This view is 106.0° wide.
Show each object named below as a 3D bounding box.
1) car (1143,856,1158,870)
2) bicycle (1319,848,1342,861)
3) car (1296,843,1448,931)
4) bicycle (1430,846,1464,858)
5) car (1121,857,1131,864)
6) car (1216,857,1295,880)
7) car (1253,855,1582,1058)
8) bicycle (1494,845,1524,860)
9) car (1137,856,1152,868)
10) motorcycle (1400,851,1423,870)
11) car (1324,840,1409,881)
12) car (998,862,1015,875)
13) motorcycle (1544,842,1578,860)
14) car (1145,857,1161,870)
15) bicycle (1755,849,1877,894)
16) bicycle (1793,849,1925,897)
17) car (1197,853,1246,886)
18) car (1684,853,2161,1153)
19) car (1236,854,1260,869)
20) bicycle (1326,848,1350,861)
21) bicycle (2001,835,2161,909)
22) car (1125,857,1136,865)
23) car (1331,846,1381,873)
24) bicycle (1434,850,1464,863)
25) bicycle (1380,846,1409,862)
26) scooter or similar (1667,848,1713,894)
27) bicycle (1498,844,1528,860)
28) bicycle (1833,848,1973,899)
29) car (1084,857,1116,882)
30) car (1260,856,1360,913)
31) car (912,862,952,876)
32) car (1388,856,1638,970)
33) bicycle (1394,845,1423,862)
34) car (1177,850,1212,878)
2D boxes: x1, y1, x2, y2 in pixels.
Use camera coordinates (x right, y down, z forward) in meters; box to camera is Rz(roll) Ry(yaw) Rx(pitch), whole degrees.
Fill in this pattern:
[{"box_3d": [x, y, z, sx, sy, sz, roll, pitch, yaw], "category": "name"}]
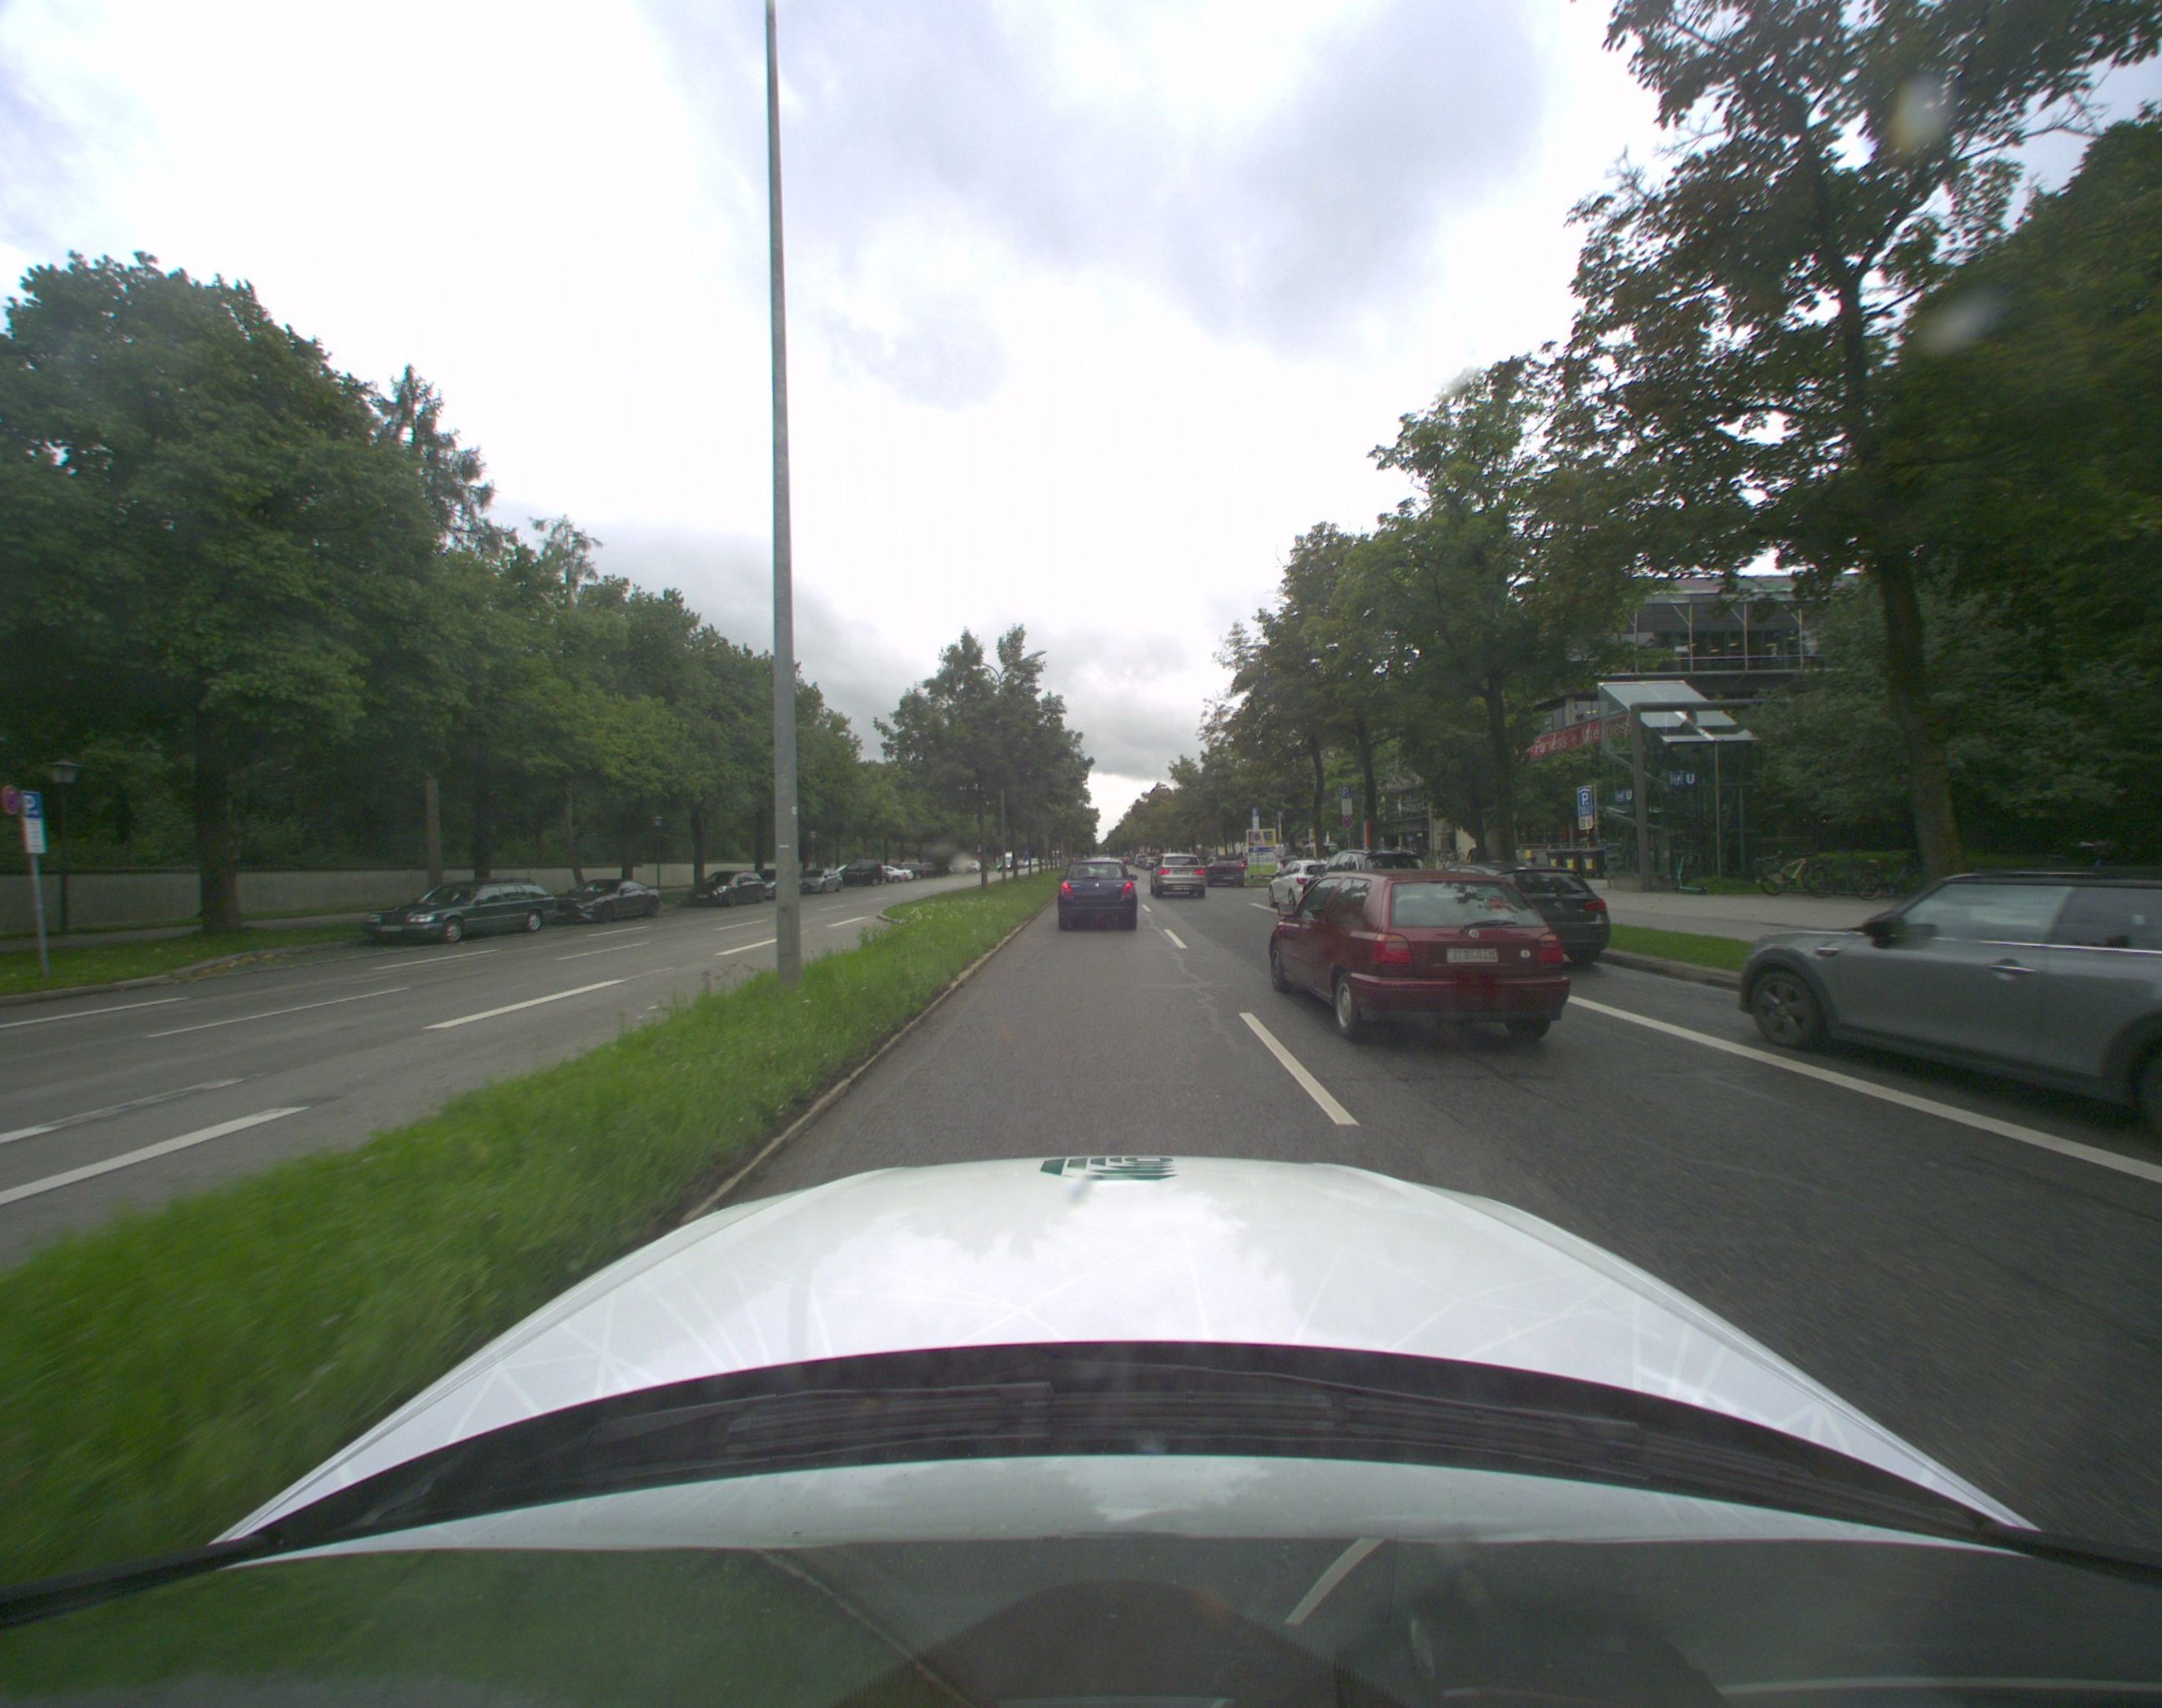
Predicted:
[{"box_3d": [8.536, 1.061, 100.164, 1.677, 1.626, 4.308, 0, 0, 2], "category": "car"}, {"box_3d": [31.118, 0.095, 101.741, 2.606, 1.508, 0.797, -1, -1, -6], "category": "bicycle"}, {"box_3d": [6.281, 0.654, 18.208, 1.780, 1.675, 4.595, -1, 0, 1], "category": "car"}, {"box_3d": [29.764, -0.153, 66.289, 0.776, 0.870, 2.373, -1, -1, -45], "category": "bicycle"}, {"box_3d": [9.582, 1.416, 174.254, 1.844, 1.447, 4.096, -1, 0, 0], "category": "car"}, {"box_3d": [11.240, 0.949, 52.678, 4.776, 1.454, 1.700, -1, -1, 39], "category": "car"}, {"box_3d": [2.894, 0.762, 7.969, 1.616, 1.454, 3.950, -1, 0, 1], "category": "car"}, {"box_3d": [35.263, -0.151, 67.083, 2.131, 1.204, 0.586, -1, -1, -1], "category": "bicycle"}, {"box_3d": [8.956, 1.155, 115.661, 1.679, 1.554, 4.303, -1, 0, -1], "category": "car"}, {"box_3d": [23.143, 0.456, 57.044, 0.693, 1.290, 2.067, -6, -1, 1], "category": "motorcycle"}, {"box_3d": [12.429, 0.262, 35.213, 1.948, 1.625, 4.877, -1, 0, 39], "category": "car"}, {"box_3d": [-9.785, 1.904, 107.076, 1.907, 1.542, 4.187, -2, 0, 0], "category": "car"}, {"box_3d": [35.225, -0.230, 59.764, 0.868, 1.229, 2.373, -3, 0, -6], "category": "motorcycle"}, {"box_3d": [8.345, 1.067, 94.458, 1.677, 1.525, 4.458, 0, 0, 2], "category": "car"}, {"box_3d": [18.894, 0.450, 20.960, 2.533, 1.089, 0.647, -1, -1, 1], "category": "bicycle"}, {"box_3d": [18.839, 0.449, 19.741, 2.533, 1.089, 0.647, -1, -1, 1], "category": "bicycle"}, {"box_3d": [7.292, 0.777, 42.608, 1.756, 1.589, 4.452, -1, 0, 0], "category": "car"}, {"box_3d": [6.169, 0.738, 5.227, 1.628, 1.453, 4.079, -1, 0, 1], "category": "car"}, {"box_3d": [18.445, 0.822, 89.970, 1.679, 1.632, 4.497, -1, 0, 0], "category": "car"}, {"box_3d": [30.814, 0.079, 97.729, 2.606, 1.508, 0.797, -1, -1, -6], "category": "bicycle"}, {"box_3d": [18.646, 0.329, 15.044, 2.533, 1.280, 0.647, -1, -1, 1], "category": "bicycle"}, {"box_3d": [9.815, 1.393, 160.400, 1.844, 1.447, 4.096, -1, 0, 0], "category": "car"}, {"box_3d": [18.002, 0.341, 53.440, 1.986, 1.651, 4.001, -2, 0, 2], "category": "car"}, {"box_3d": [29.346, 0.180, 64.922, 0.751, 0.958, 2.022, -1, -1, -45], "category": "bicycle"}, {"box_3d": [30.810, -0.030, 80.070, 2.612, 1.508, 0.795, -1, -1, -13], "category": "bicycle"}, {"box_3d": [17.022, 0.469, 22.797, 0.418, 1.233, 1.238, -1, 0, 4], "category": "scooter or similar"}, {"box_3d": [35.216, -0.151, 66.466, 2.131, 1.204, 0.586, -1, -1, -1], "category": "bicycle"}, {"box_3d": [18.817, 0.446, 18.670, 2.533, 1.089, 0.647, -1, -1, 1], "category": "bicycle"}, {"box_3d": [1.160, 0.924, 50.763, 1.844, 1.447, 4.096, -1, 0, 0], "category": "car"}, {"box_3d": [6.489, 0.806, 23.529, 1.648, 1.434, 4.483, -1, 0, 1], "category": "car"}, {"box_3d": [-16.933, 1.667, 92.652, 4.119, 1.501, 1.901, -1, 0, -29], "category": "car"}, {"box_3d": [6.390, 0.771, 12.673, 1.627, 1.439, 4.304, -1, 0, 0], "category": "car"}, {"box_3d": [30.588, -0.031, 76.051, 2.619, 1.508, 0.793, -1, -1, -21], "category": "bicycle"}, {"box_3d": [7.318, 0.638, 52.893, 1.755, 1.701, 4.822, -1, 0, 2], "category": "car"}]
